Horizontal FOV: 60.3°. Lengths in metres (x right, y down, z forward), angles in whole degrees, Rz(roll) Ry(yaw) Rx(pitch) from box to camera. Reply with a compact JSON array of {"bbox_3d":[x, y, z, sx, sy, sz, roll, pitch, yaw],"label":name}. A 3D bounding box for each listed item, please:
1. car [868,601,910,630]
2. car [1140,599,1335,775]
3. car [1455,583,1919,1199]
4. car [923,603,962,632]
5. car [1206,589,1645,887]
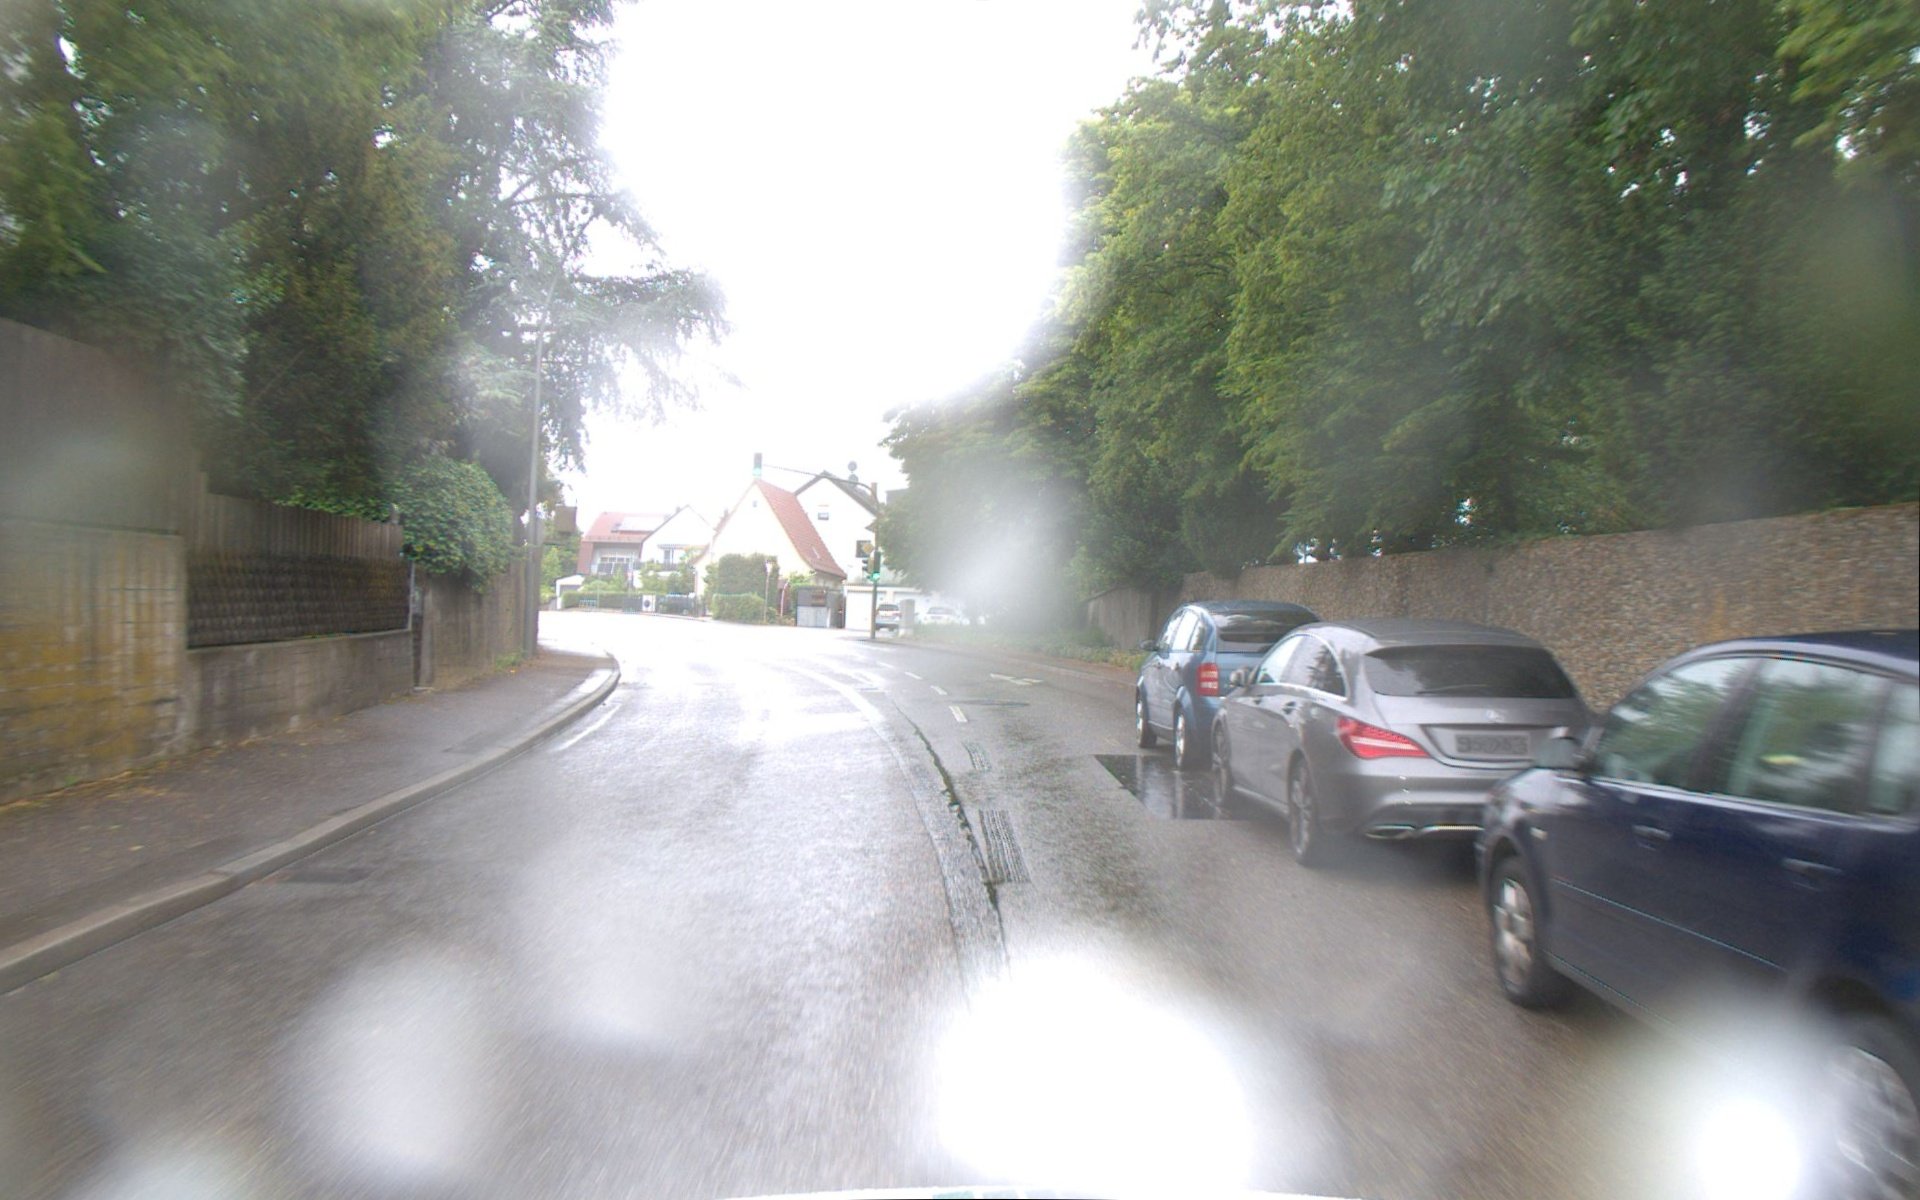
[{"bbox_3d":[-3.841,0.835,90.034,1.867,1.467,4.001,1,0,3],"label":"car"},{"bbox_3d":[2.654,0.802,16.406,1.276,1.523,3.363,2,-1,-1],"label":"car"},{"bbox_3d":[2.954,0.779,5.176,1.614,1.523,3.708,2,-1,-1],"label":"car"},{"bbox_3d":[-0.923,0.925,89.649,1.867,1.467,4.001,1,0,3],"label":"car"},{"bbox_3d":[2.797,0.772,10.922,1.614,1.523,4.245,2,-1,-1],"label":"car"}]
